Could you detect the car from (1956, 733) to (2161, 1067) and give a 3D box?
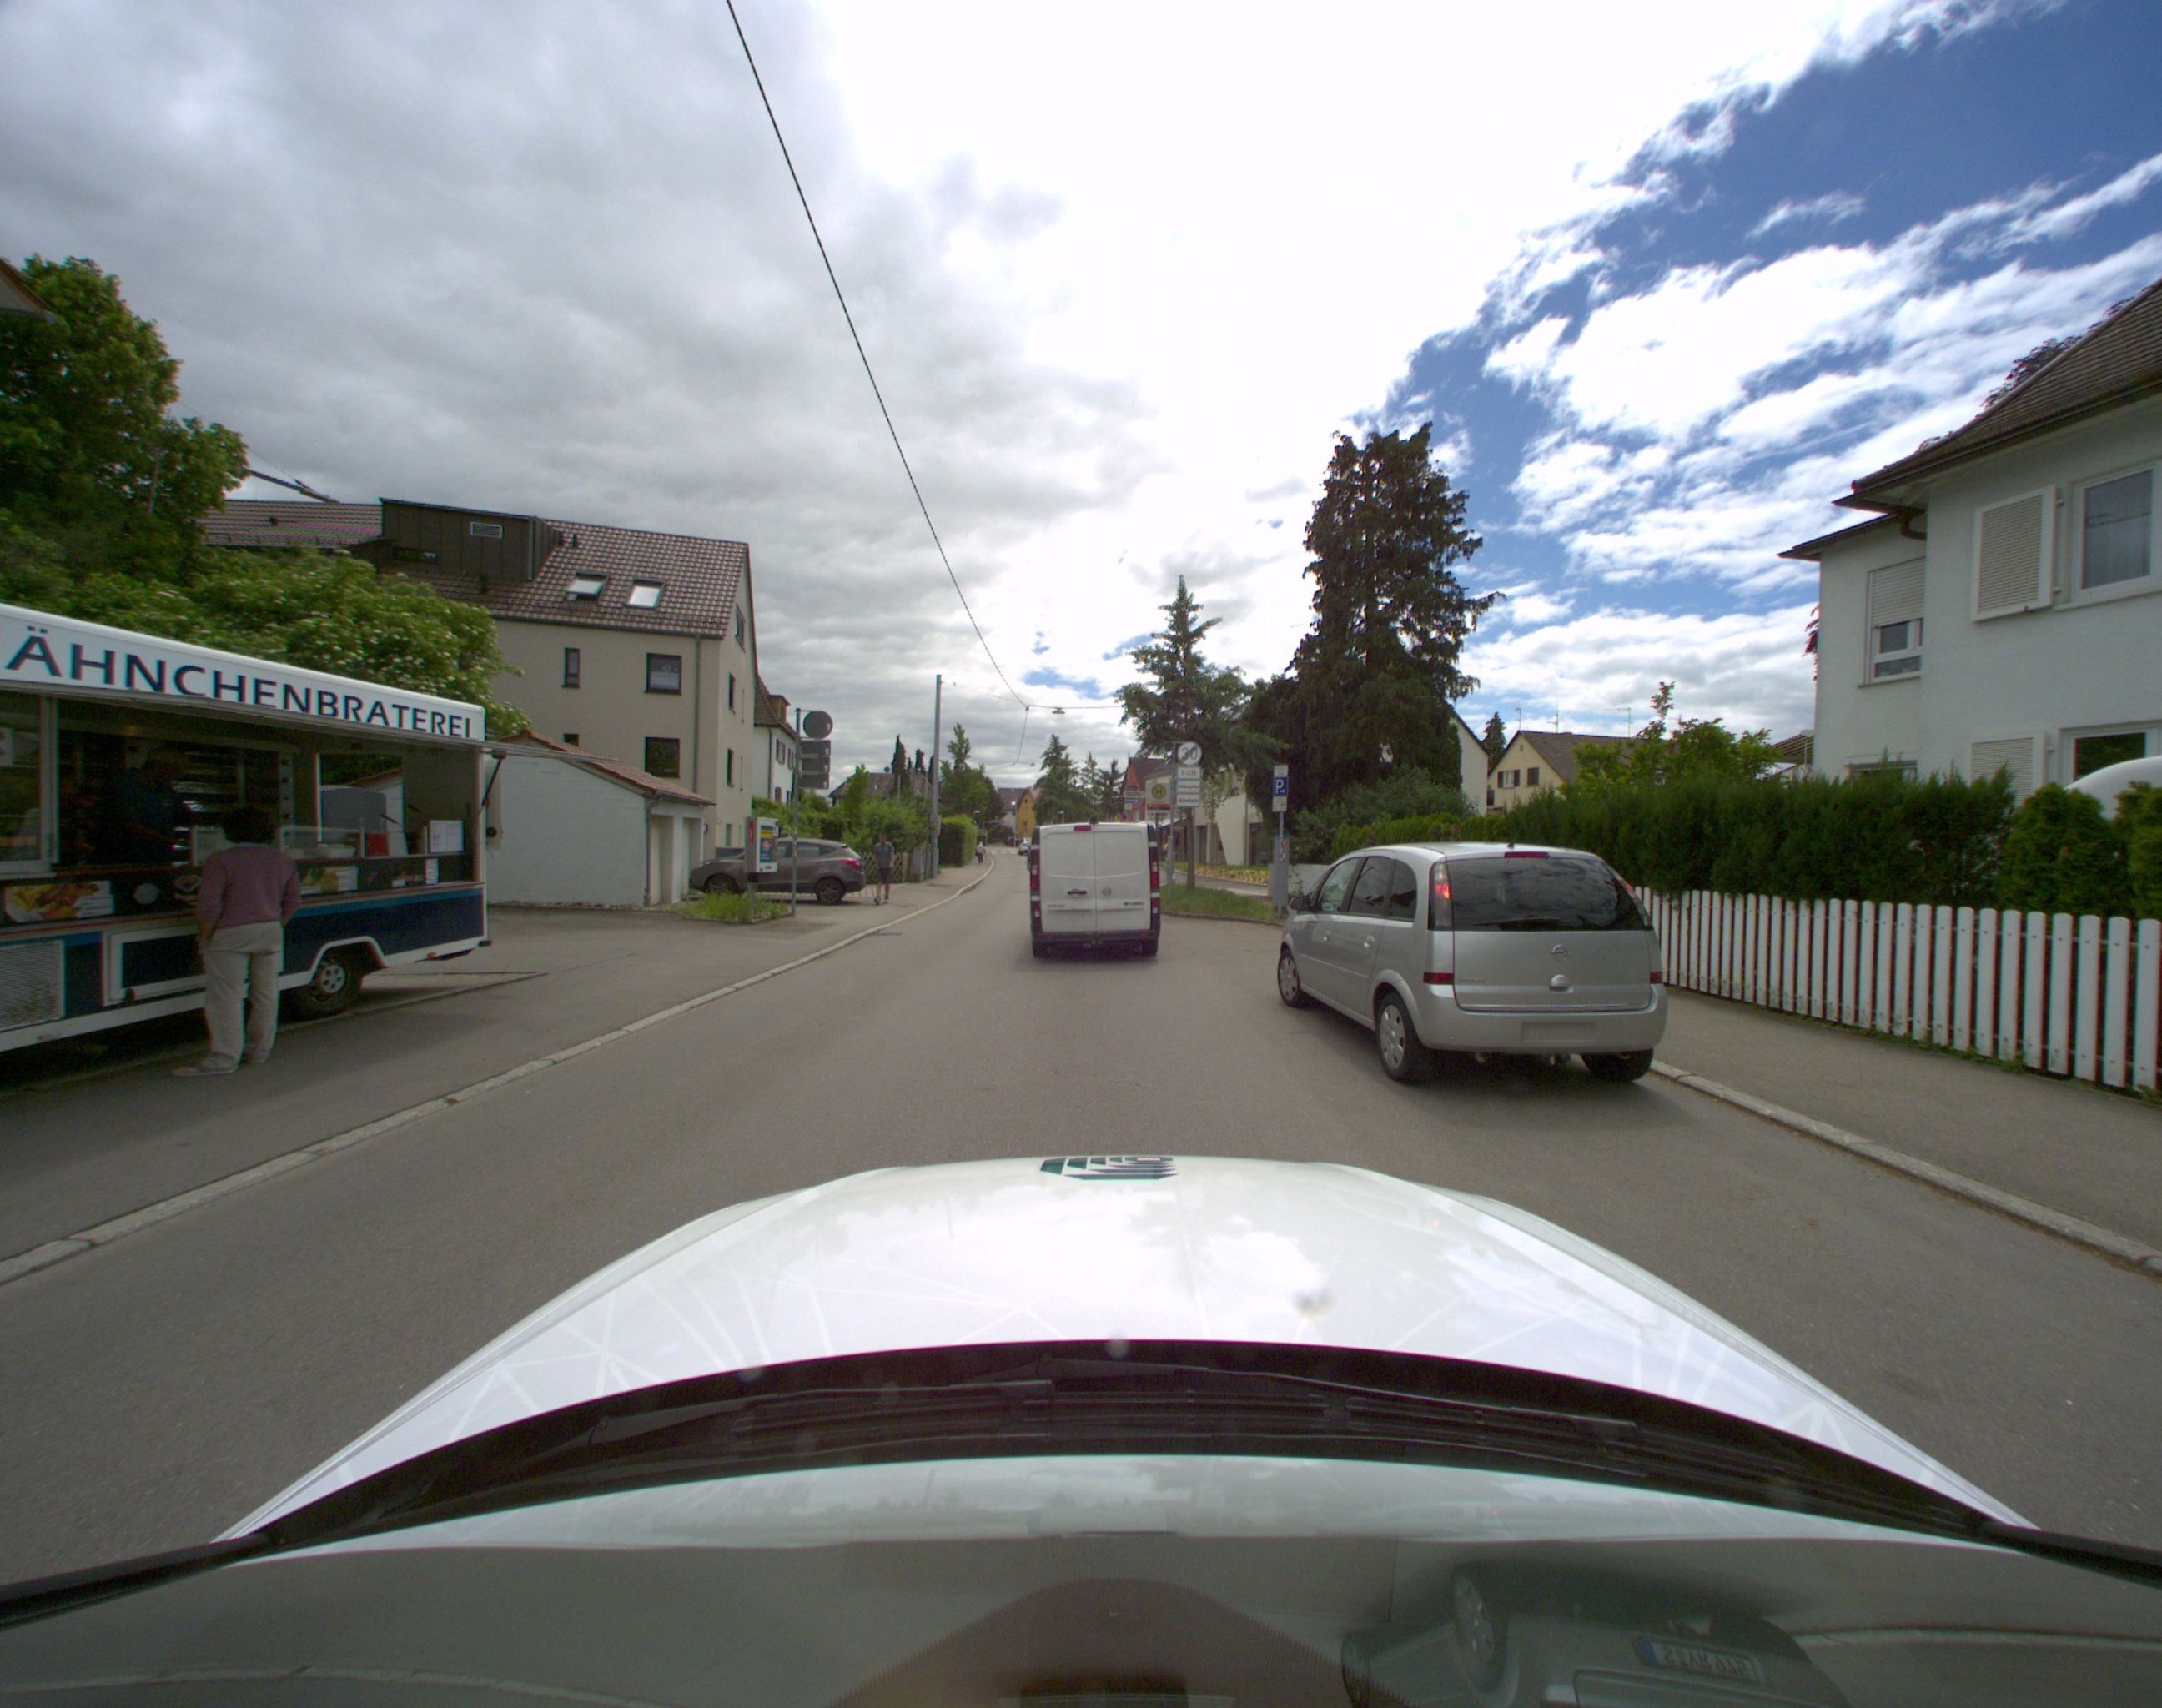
[{"bbox_3d":[10.119,0.435,5.505,2.497,2.681,5.170,3,0,-10],"label":"car"}]

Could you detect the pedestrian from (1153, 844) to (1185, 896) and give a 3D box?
[{"bbox_3d":[2.880,0.516,26.700,0.851,1.645,0.884,3,0,0],"label":"pedestrian"}]

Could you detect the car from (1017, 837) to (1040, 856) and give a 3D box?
[{"bbox_3d":[-4.975,-0.686,77.107,1.991,1.782,3.992,0,0,-6],"label":"car"}]

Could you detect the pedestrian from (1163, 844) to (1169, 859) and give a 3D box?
[{"bbox_3d":[6.924,-0.200,66.662,0.421,1.182,0.323,1,0,-9],"label":"pedestrian"}]

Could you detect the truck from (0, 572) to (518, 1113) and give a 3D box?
[{"bbox_3d":[-6.946,-0.084,5.020,2.467,2.840,6.700,1,0,-3],"label":"truck"}]

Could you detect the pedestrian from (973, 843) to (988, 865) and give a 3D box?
[{"bbox_3d":[-6.940,-0.010,56.165,0.880,1.485,0.451,3,0,-26],"label":"pedestrian"}]

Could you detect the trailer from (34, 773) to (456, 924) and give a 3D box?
[{"bbox_3d":[-13.467,-0.095,13.379,4.853,2.079,1.702,3,2,-5],"label":"trailer"}]

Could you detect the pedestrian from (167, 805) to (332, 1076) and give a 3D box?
[{"bbox_3d":[-5.533,0.548,5.449,0.400,1.695,0.597,3,0,-3],"label":"pedestrian"}]

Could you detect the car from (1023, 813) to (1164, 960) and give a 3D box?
[{"bbox_3d":[0.080,0.445,13.314,1.911,2.002,4.433,0,0,-3],"label":"car"}]

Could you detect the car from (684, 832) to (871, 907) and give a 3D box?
[{"bbox_3d":[-7.845,0.396,21.494,4.315,1.695,1.790,3,0,-13],"label":"car"}]

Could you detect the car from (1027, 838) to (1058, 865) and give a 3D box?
[{"bbox_3d":[-2.826,-0.180,59.138,1.991,1.848,3.992,0,0,-6],"label":"car"}]

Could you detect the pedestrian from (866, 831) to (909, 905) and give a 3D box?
[{"bbox_3d":[-5.313,0.386,22.407,0.730,1.946,1.218,3,0,2],"label":"pedestrian"}]

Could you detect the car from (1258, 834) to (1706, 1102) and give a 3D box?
[{"bbox_3d":[2.850,0.673,6.894,1.754,1.582,4.016,0,0,-1],"label":"car"}]
